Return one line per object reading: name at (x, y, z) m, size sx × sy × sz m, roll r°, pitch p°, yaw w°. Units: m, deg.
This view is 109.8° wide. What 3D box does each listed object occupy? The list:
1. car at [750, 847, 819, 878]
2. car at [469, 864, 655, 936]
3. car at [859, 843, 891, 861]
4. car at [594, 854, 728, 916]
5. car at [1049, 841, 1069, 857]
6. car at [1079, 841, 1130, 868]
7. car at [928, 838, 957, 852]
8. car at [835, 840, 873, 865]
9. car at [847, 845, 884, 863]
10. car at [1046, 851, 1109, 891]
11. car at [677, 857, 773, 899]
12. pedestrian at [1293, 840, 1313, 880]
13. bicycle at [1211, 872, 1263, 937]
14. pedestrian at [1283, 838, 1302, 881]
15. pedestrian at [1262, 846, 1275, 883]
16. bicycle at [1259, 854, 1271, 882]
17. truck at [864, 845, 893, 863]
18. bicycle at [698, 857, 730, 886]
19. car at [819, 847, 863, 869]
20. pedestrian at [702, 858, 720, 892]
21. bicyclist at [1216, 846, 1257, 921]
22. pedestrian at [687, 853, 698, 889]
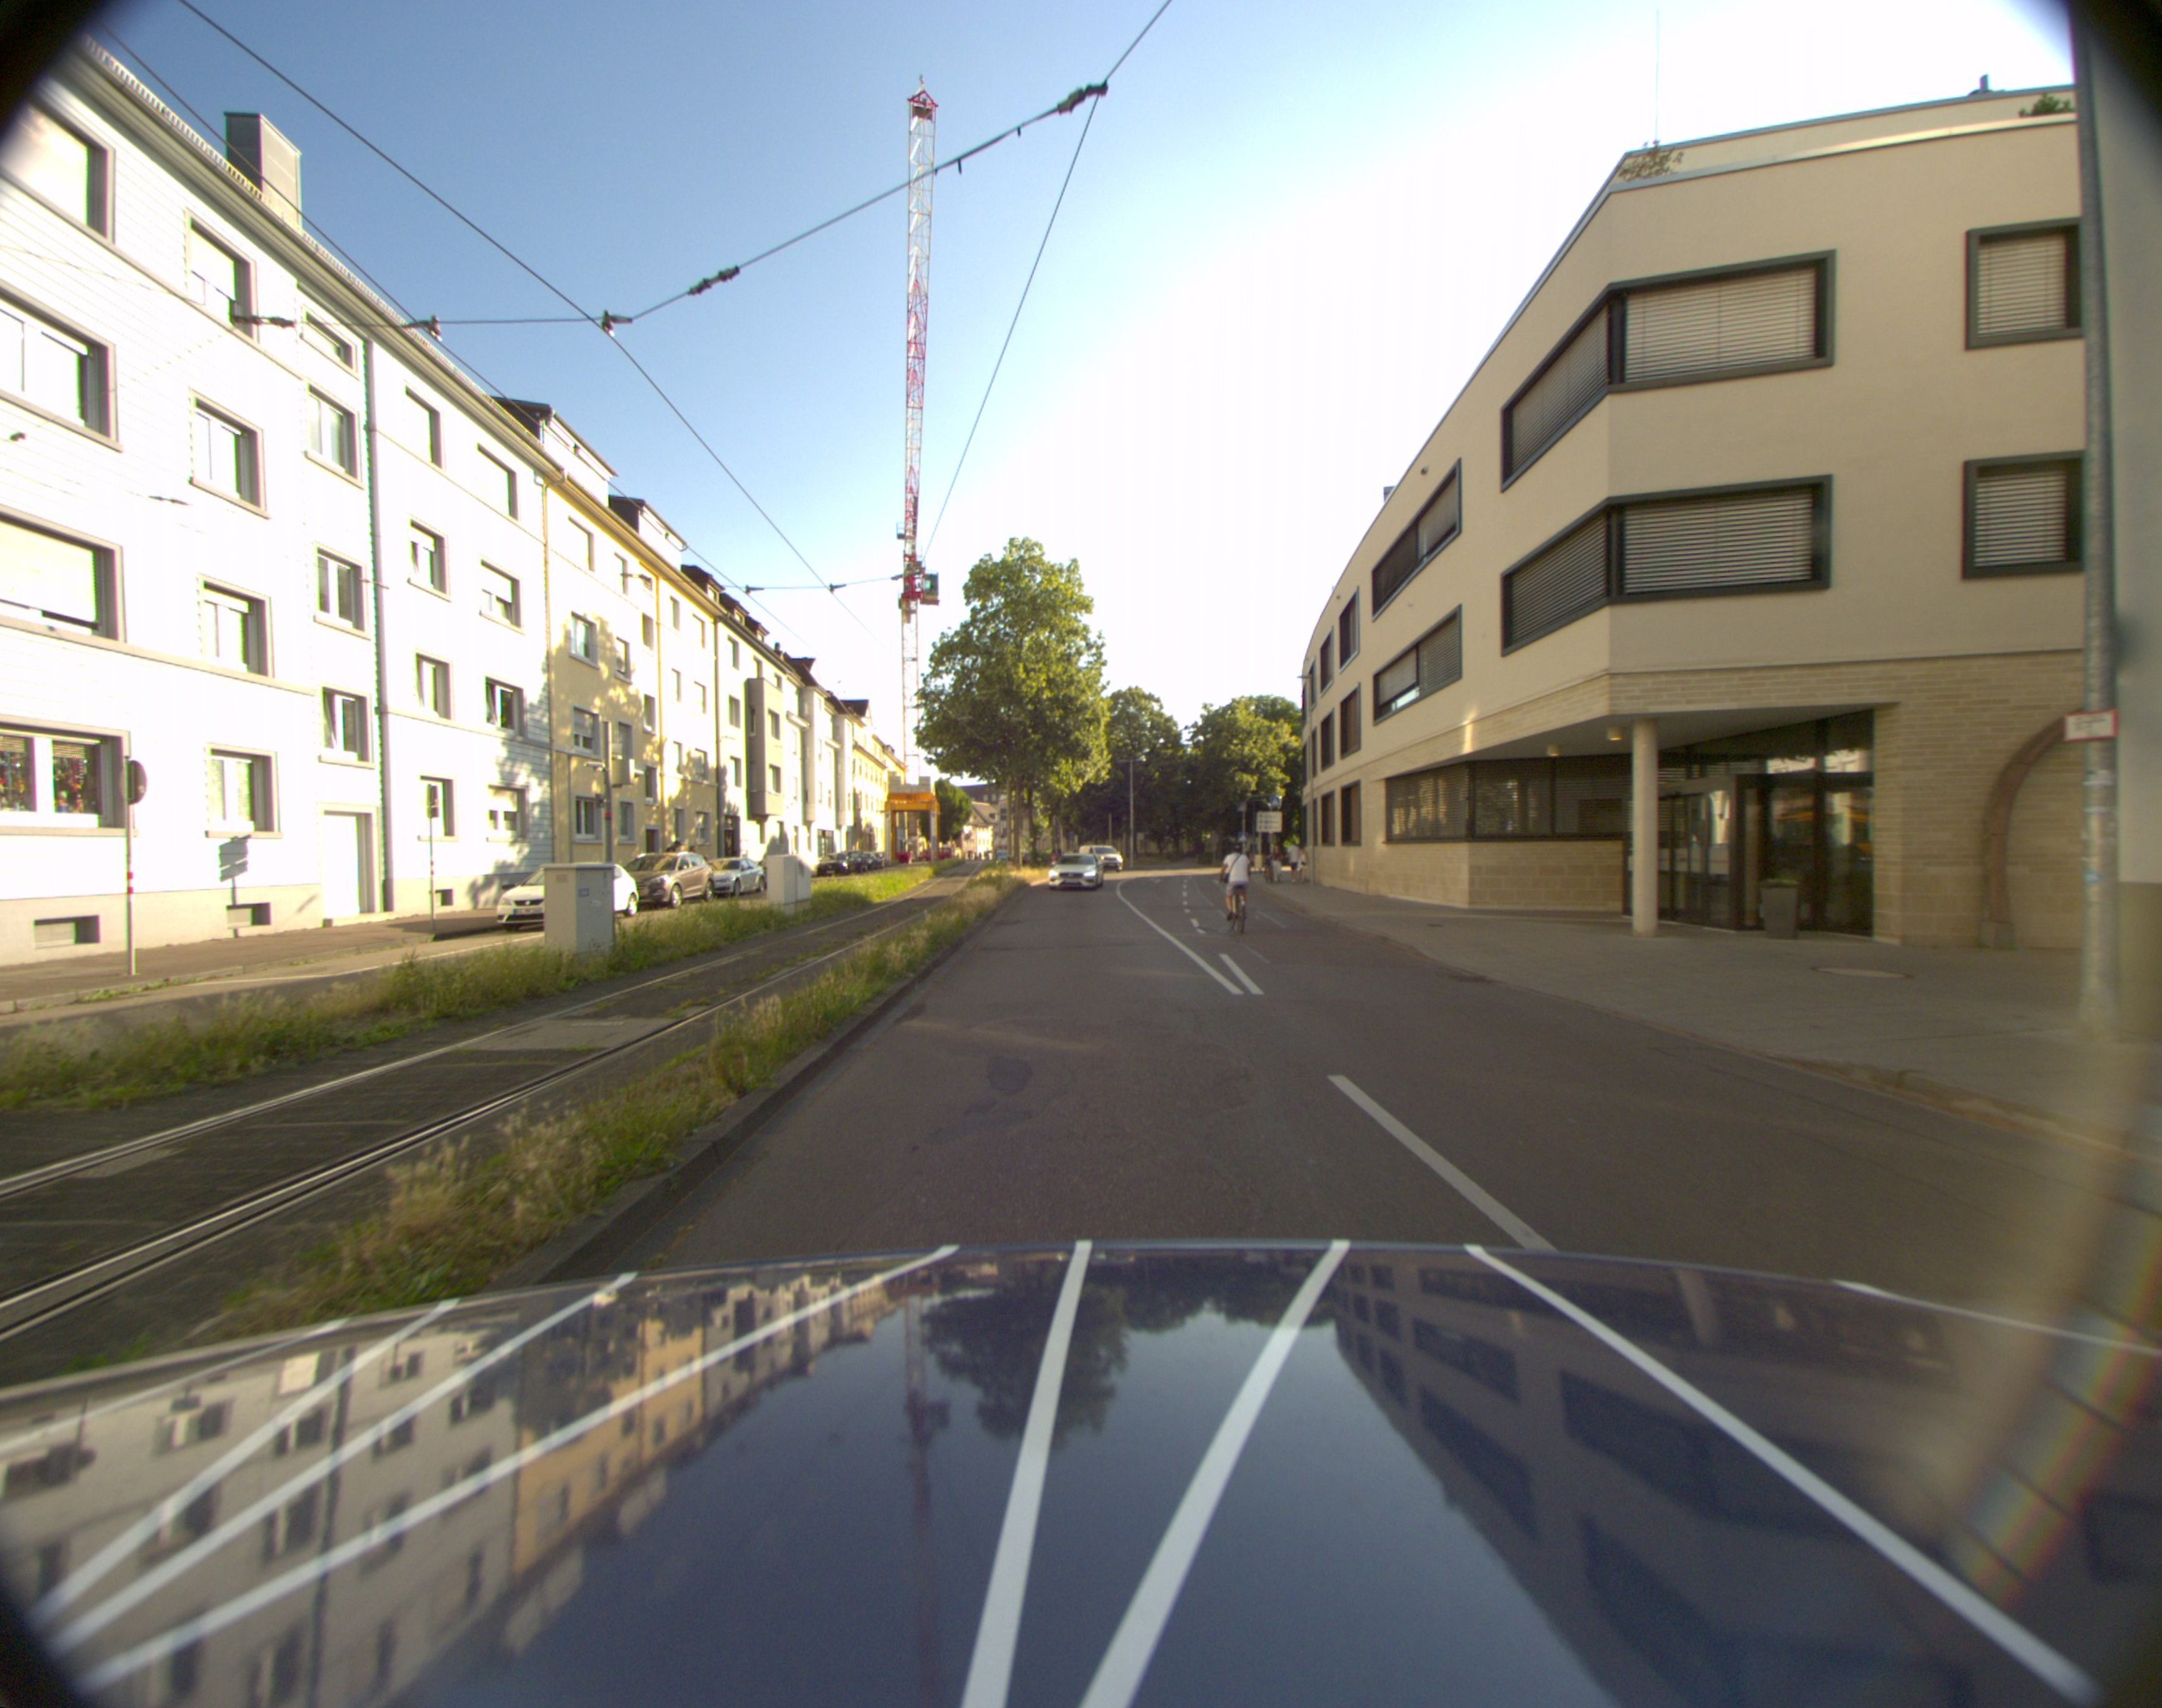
car at (-13.784, 0.357, 35.583) m, size 2.000 × 1.378 × 4.443 m, roll 0°, pitch 0°, yaw -8°
car at (-12.036, 0.982, 18.045) m, size 2.000 × 1.378 × 4.441 m, roll -1°, pitch 0°, yaw -11°
car at (-17.448, -0.172, 64.519) m, size 2.000 × 1.444 × 4.094 m, roll 0°, pitch 0°, yaw -7°
car at (-12.653, 0.847, 23.274) m, size 2.000 × 1.563 × 4.637 m, roll 0°, pitch 2°, yaw -8°
car at (-2.649, -0.625, 91.074) m, size 2.000 × 1.784 × 3.996 m, roll -2°, pitch 2°, yaw -7°
car at (1.610, 0.010, 53.894) m, size 2.002 × 1.843 × 4.894 m, roll -1°, pitch 0°, yaw -18°
car at (-19.981, -1.304, 110.088) m, size 4.072 × 1.910 × 1.998 m, roll 0°, pitch 1°, yaw -9°
car at (-16.237, -0.112, 54.524) m, size 2.000 × 1.739 × 4.206 m, roll 0°, pitch 0°, yaw -8°
car at (-16.832, -0.034, 59.575) m, size 1.999 × 1.378 × 4.207 m, roll 0°, pitch 0°, yaw -5°
car at (-0.043, 0.628, 30.757) m, size 1.852 × 1.455 × 4.775 m, roll 0°, pitch 0°, yaw 8°
car at (-13.233, 0.831, 28.536) m, size 2.000 × 1.378 × 4.443 m, roll 0°, pitch 0°, yaw -8°
pedestrian at (9.772, 0.262, 33.483) m, size 0.704 × 1.704 × 0.843 m, roll -2°, pitch 2°, yaw 6°
bicycle at (2.951, 0.922, 14.488) m, size 0.624 × 1.075 × 1.783 m, roll 0°, pitch 2°, yaw 0°
pedestrian at (9.307, 0.243, 33.500) m, size 0.606 × 1.838 × 0.993 m, roll -2°, pitch 2°, yaw 6°
pedestrian at (8.324, 0.460, 33.717) m, size 0.474 × 1.638 × 0.603 m, roll 1°, pitch 2°, yaw 17°
bicycle at (8.203, 0.602, 33.870) m, size 0.441 × 1.171 × 1.969 m, roll -1°, pitch 0°, yaw 13°
truck at (-18.660, -0.042, 70.210) m, size 2.000 × 1.576 × 4.094 m, roll 0°, pitch 0°, yaw -7°
bicycle at (-15.867, 0.750, 32.890) m, size 0.536 × 1.125 × 2.306 m, roll -1°, pitch 2°, yaw -8°
car at (-15.528, 0.233, 49.425) m, size 2.000 × 1.378 × 4.443 m, roll 0°, pitch 0°, yaw -8°
pedestrian at (-15.833, 0.889, 32.506) m, size 0.525 × 1.432 × 0.461 m, roll -1°, pitch 2°, yaw -7°
bicyclist at (2.949, 0.547, 14.449) m, size 0.624 × 1.372 × 0.801 m, roll 0°, pitch 2°, yaw 0°
pedestrian at (-16.751, 0.731, 32.729) m, size 0.305 × 1.506 × 0.442 m, roll -1°, pitch 1°, yaw -15°
